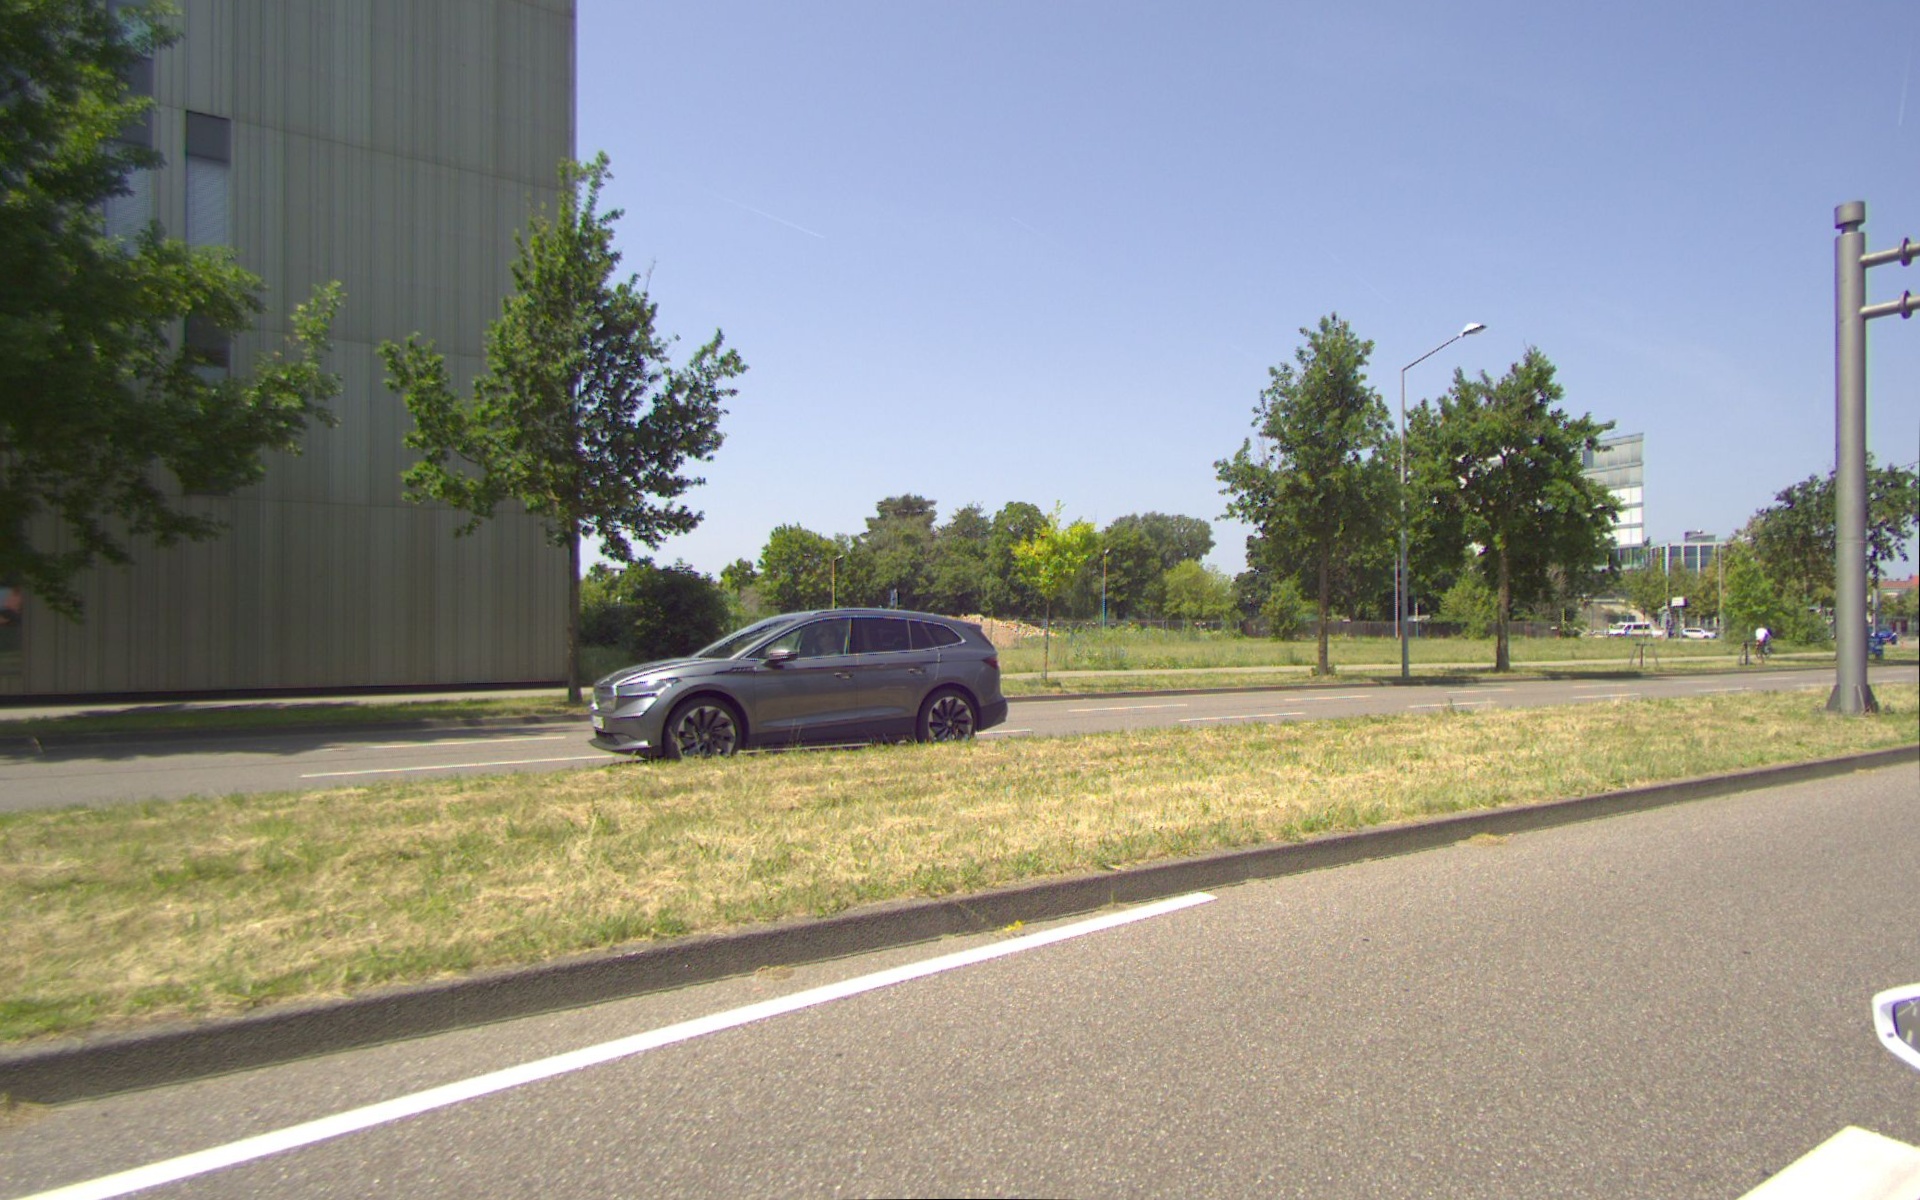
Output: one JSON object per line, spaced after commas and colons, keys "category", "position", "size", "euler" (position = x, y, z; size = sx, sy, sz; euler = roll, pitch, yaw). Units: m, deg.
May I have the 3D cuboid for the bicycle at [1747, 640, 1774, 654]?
{"category": "bicycle", "position": [43.863, 2.587, 55.005], "size": [1.827, 0.725, 0.479], "euler": [1, -1, -28]}

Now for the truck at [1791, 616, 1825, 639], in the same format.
{"category": "truck", "position": [104.883, 3.370, 124.267], "size": [1.963, 2.775, 5.029], "euler": [-1, -2, 26]}

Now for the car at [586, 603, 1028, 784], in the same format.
{"category": "car", "position": [-1.599, 0.897, 11.099], "size": [4.484, 1.632, 1.882], "euler": [1, -2, -32]}

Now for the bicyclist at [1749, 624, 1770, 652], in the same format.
{"category": "bicyclist", "position": [43.764, 2.093, 54.975], "size": [0.747, 1.509, 0.620], "euler": [1, -1, -28]}

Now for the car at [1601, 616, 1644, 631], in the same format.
{"category": "car", "position": [86.416, 3.084, 130.981], "size": [4.203, 1.903, 2.001], "euler": [0, -1, 5]}

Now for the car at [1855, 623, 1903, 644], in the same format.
{"category": "car", "position": [72.447, 2.649, 79.200], "size": [1.965, 1.617, 3.992], "euler": [-1, -2, 30]}

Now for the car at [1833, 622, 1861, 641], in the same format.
{"category": "car", "position": [86.830, 3.059, 98.338], "size": [1.970, 1.840, 3.981], "euler": [-1, -2, 40]}

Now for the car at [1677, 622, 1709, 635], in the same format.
{"category": "car", "position": [113.787, 4.417, 155.981], "size": [3.939, 1.838, 1.994], "euler": [-1, -9, 39]}
